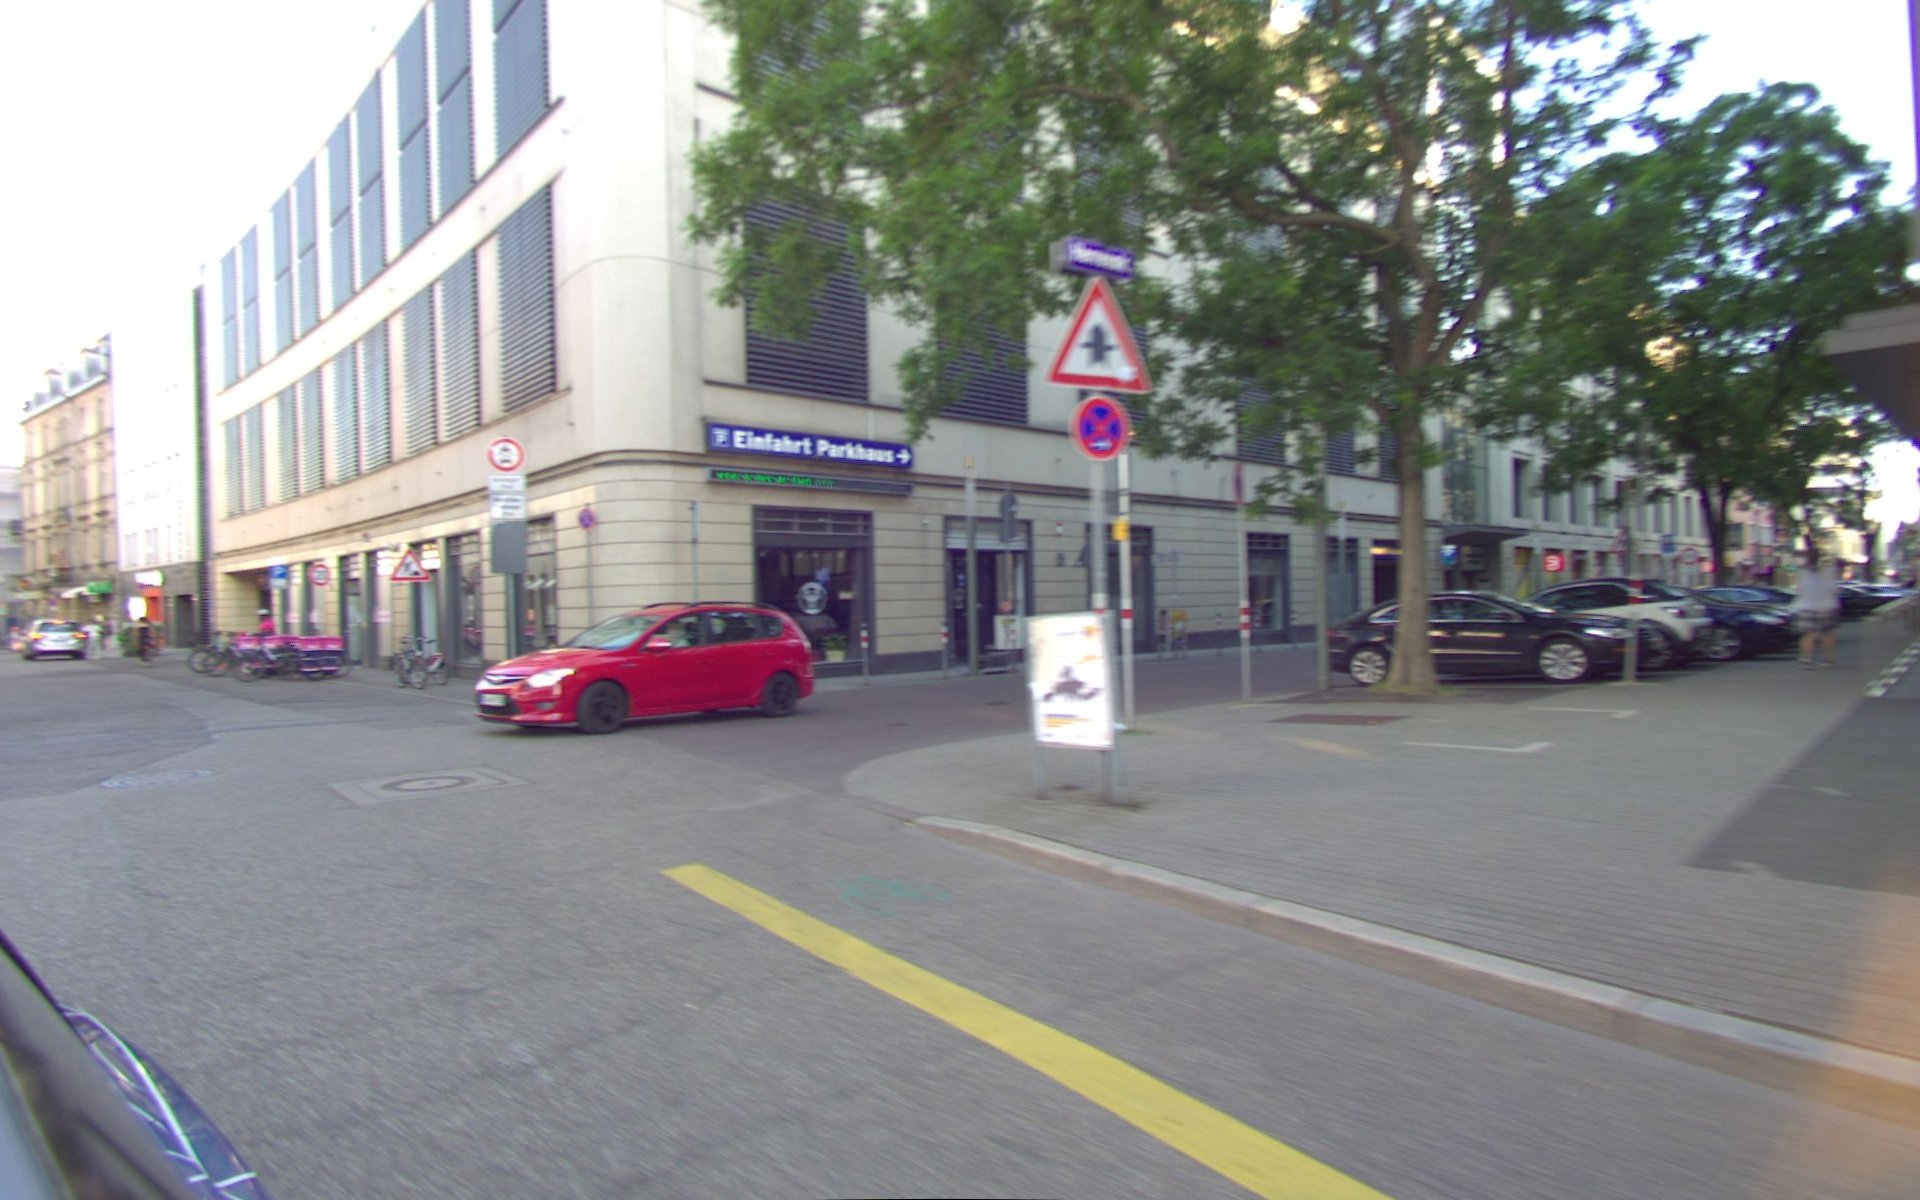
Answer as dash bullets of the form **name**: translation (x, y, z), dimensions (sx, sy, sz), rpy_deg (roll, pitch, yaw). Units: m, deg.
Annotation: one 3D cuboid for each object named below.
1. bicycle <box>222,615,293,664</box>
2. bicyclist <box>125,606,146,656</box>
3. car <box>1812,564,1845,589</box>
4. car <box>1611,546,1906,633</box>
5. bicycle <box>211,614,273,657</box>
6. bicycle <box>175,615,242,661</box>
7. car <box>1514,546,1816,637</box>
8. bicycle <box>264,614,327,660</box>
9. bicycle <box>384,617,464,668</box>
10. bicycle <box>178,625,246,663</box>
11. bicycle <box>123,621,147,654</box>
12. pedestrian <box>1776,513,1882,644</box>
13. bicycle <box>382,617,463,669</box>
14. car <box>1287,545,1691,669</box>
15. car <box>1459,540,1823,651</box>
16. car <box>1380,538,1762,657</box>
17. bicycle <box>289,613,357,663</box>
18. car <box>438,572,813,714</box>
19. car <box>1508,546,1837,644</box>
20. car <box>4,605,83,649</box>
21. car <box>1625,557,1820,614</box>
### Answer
- **bicycle**: translation (-18.648, 1.034, 26.897), dimensions (1.493, 1.259, 0.354), rpy_deg (-1, 0, -26)
- **bicyclist**: translation (-27.663, 1.021, 33.958), dimensions (0.490, 1.637, 0.633), rpy_deg (-1, 0, -37)
- **car**: translation (83.604, -2.269, 97.384), dimensions (2.001, 2.346, 4.948), rpy_deg (1, 2, 45)
- **car**: translation (18.131, -0.169, 23.199), dimensions (1.970, 1.511, 5.023), rpy_deg (-1, -4, -44)
- **bicycle**: translation (-21.683, 1.060, 30.587), dimensions (1.493, 1.259, 0.354), rpy_deg (-1, 0, -31)
- **bicycle**: translation (-21.311, 1.064, 28.728), dimensions (1.494, 1.259, 0.354), rpy_deg (-1, 1, -35)
- **car**: translation (15.116, -0.118, 21.952), dimensions (1.970, 1.511, 5.023), rpy_deg (-1, -4, -44)
- **bicycle**: translation (-19.098, 1.054, 29.109), dimensions (1.493, 1.259, 0.354), rpy_deg (-1, 0, -26)
- **bicycle**: translation (-11.745, 0.920, 22.201), dimensions (1.493, 1.041, 0.354), rpy_deg (-2, 0, -22)
- **bicycle**: translation (-20.641, 1.204, 27.952), dimensions (1.495, 0.960, 0.353), rpy_deg (-1, 1, -38)
- **bicycle**: translation (-27.529, 1.234, 33.778), dimensions (0.510, 1.002, 2.114), rpy_deg (-1, 1, -37)
- **pedestrian**: translation (12.033, -0.279, 14.014), dimensions (0.821, 1.719, 0.909), rpy_deg (-1, -3, -41)
- **bicycle**: translation (-11.587, 0.915, 21.845), dimensions (1.493, 1.041, 0.354), rpy_deg (-2, 0, -22)
- **car**: translation (7.848, 0.199, 15.442), dimensions (1.970, 1.463, 5.023), rpy_deg (-1, -4, -44)
- **car**: translation (11.971, 0.011, 18.082), dimensions (1.970, 1.511, 5.023), rpy_deg (-1, -4, -44)
- **car**: translation (9.948, 0.052, 16.832), dimensions (1.970, 1.511, 5.023), rpy_deg (-1, -4, -44)
- **bicycle**: translation (-16.920, 0.996, 26.902), dimensions (1.495, 1.259, 0.353), rpy_deg (-1, 1, -39)
- **car**: translation (-4.022, 0.474, 12.787), dimensions (1.826, 1.476, 4.208), rpy_deg (-1, -1, 39)
- **car**: translation (14.024, -0.021, 20.184), dimensions (1.970, 1.511, 5.023), rpy_deg (-1, -4, -44)
- **car**: translation (-37.576, 1.061, 41.473), dimensions (4.001, 1.674, 2.146), rpy_deg (0, 1, 44)
- **car**: translation (26.065, -0.444, 34.751), dimensions (1.970, 1.511, 5.023), rpy_deg (-1, -4, -44)
